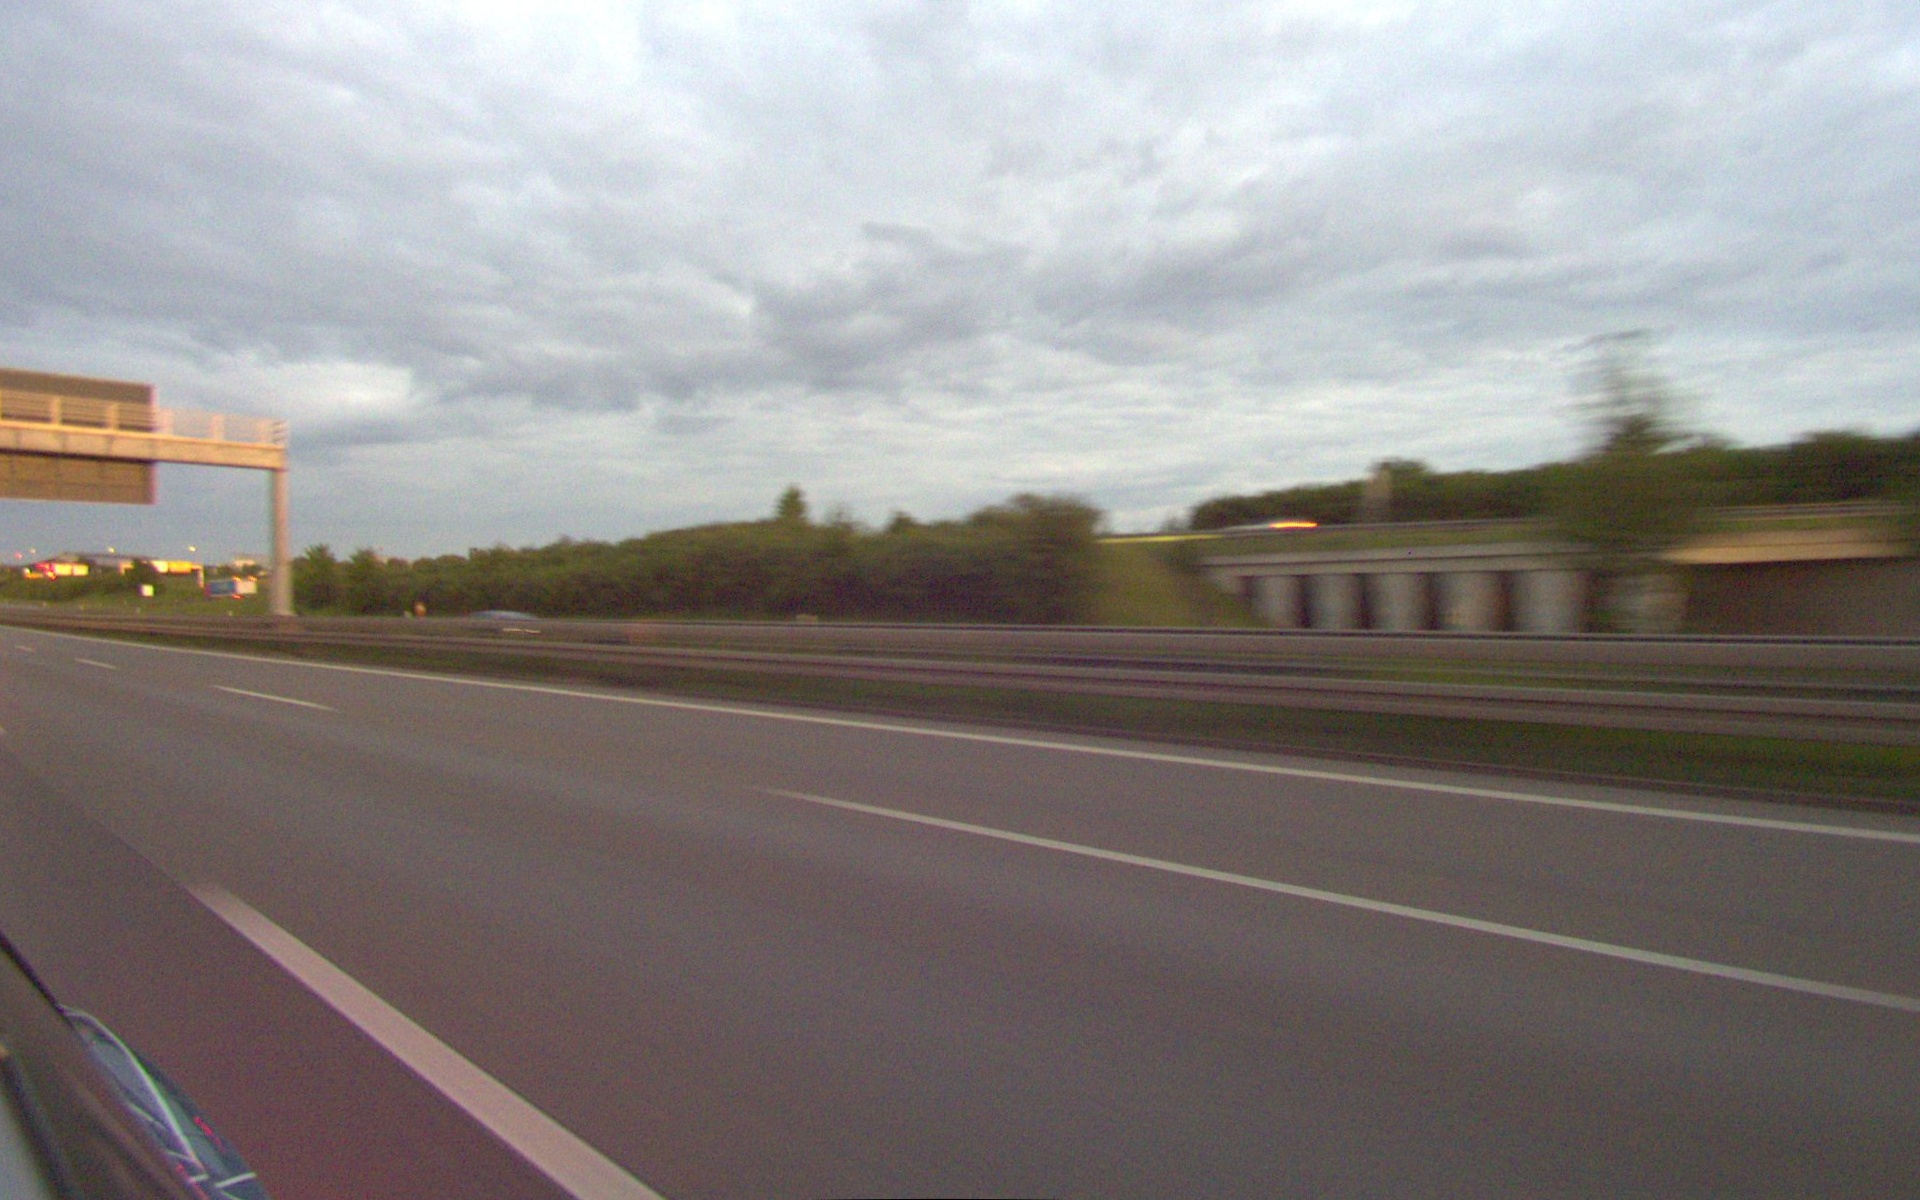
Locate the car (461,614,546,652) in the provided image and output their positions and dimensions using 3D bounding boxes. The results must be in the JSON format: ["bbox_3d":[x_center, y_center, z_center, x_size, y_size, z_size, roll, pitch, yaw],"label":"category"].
[{"bbox_3d":[-19.683,1.394,43.590,4.428,1.412,1.672,1,3,42],"label":"car"}]

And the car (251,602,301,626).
[{"bbox_3d":[-45.018,0.896,66.549,4.428,1.412,1.672,1,3,42],"label":"car"}]

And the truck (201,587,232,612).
[{"bbox_3d":[-125.729,-0.005,171.119,5.467,4.102,2.666,-1,1,37],"label":"truck"}]

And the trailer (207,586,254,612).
[{"bbox_3d":[-120.716,-0.073,167.366,12.469,4.102,2.666,-1,1,37],"label":"trailer"}]
